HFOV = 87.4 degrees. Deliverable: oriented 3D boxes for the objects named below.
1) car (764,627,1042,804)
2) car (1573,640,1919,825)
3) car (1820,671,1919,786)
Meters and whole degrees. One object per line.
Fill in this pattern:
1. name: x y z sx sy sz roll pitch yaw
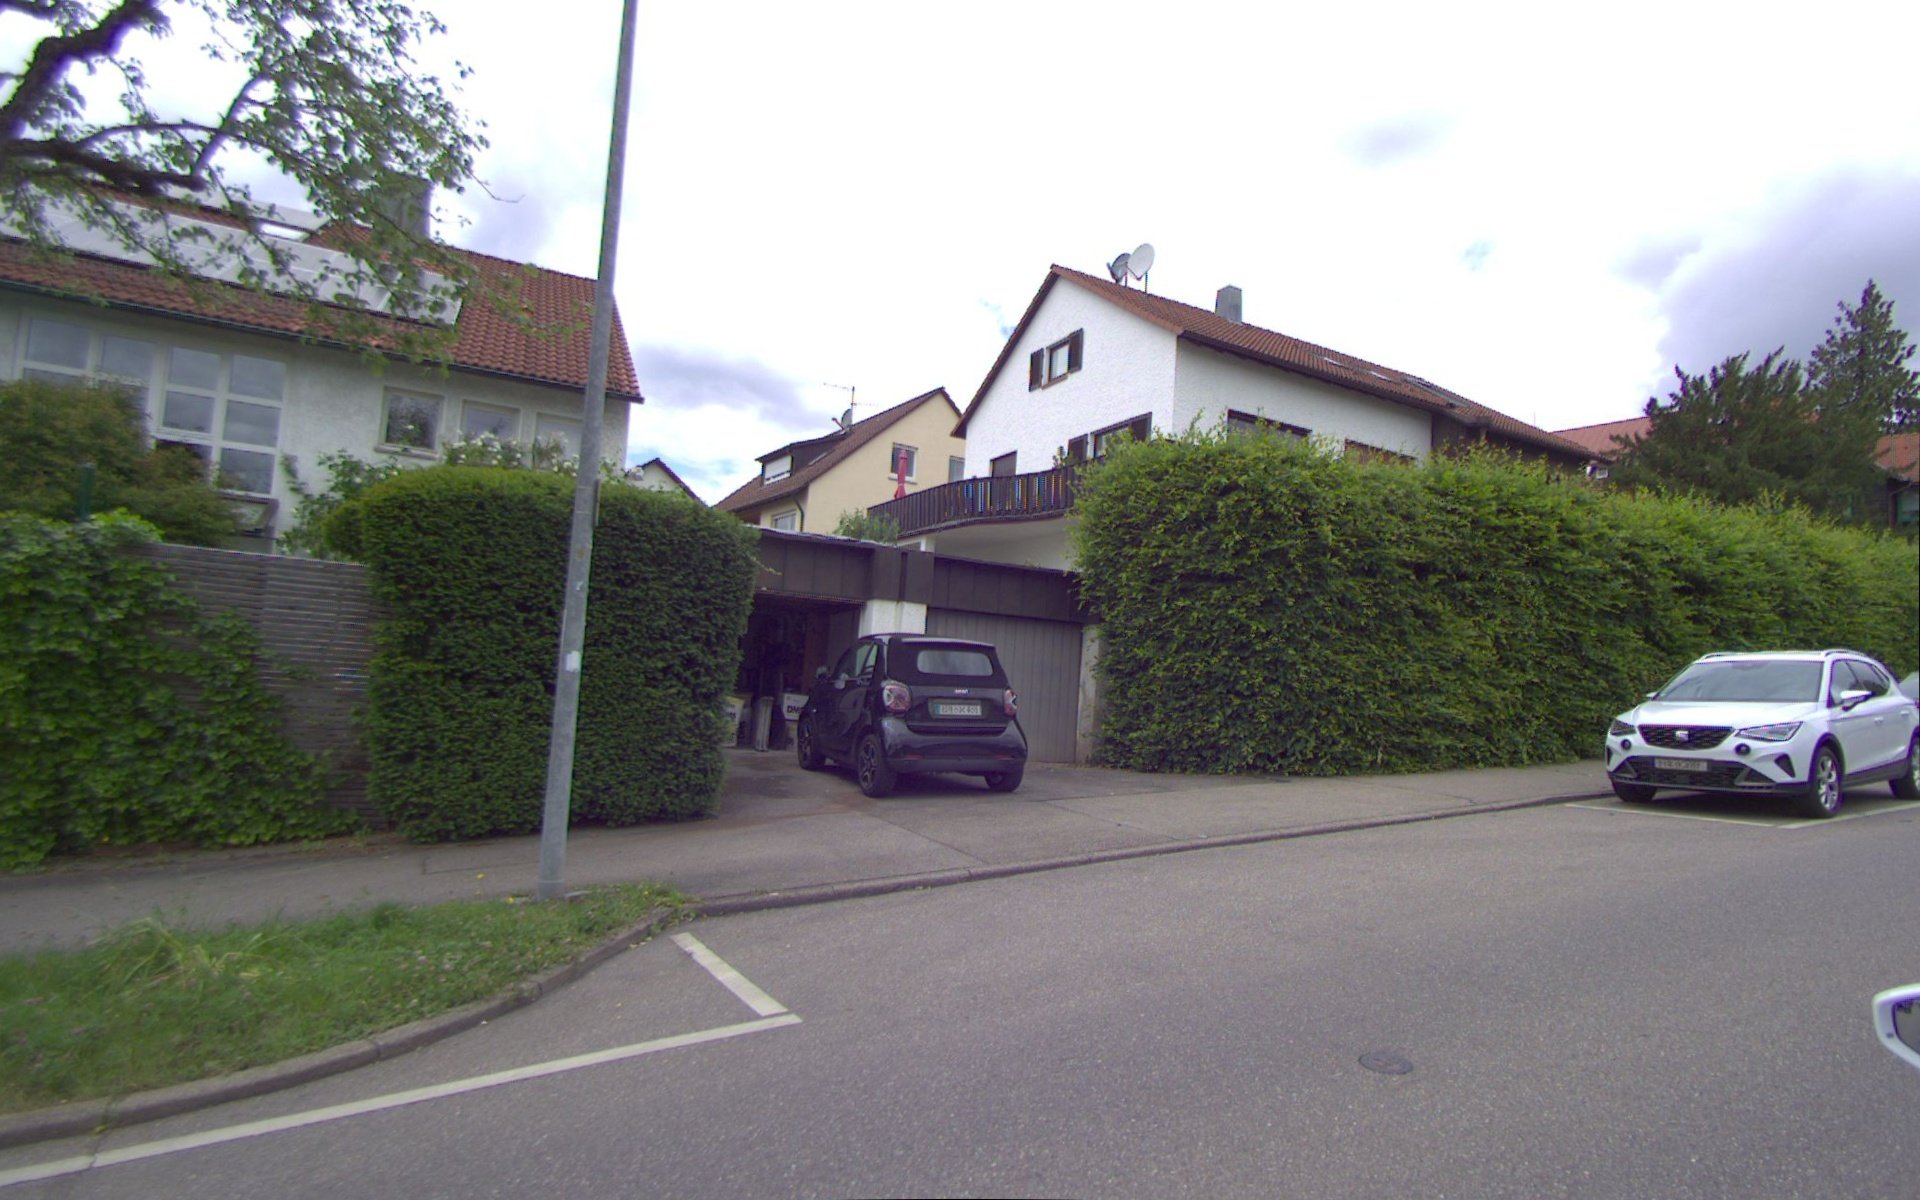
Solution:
1. car: -0.830 1.108 11.275 1.764 1.553 3.975 1 -1 -25
2. car: 8.246 1.240 10.327 3.956 1.560 1.714 2 -5 -32
3. car: 13.418 1.693 13.364 3.954 1.405 1.755 4 -6 -30
